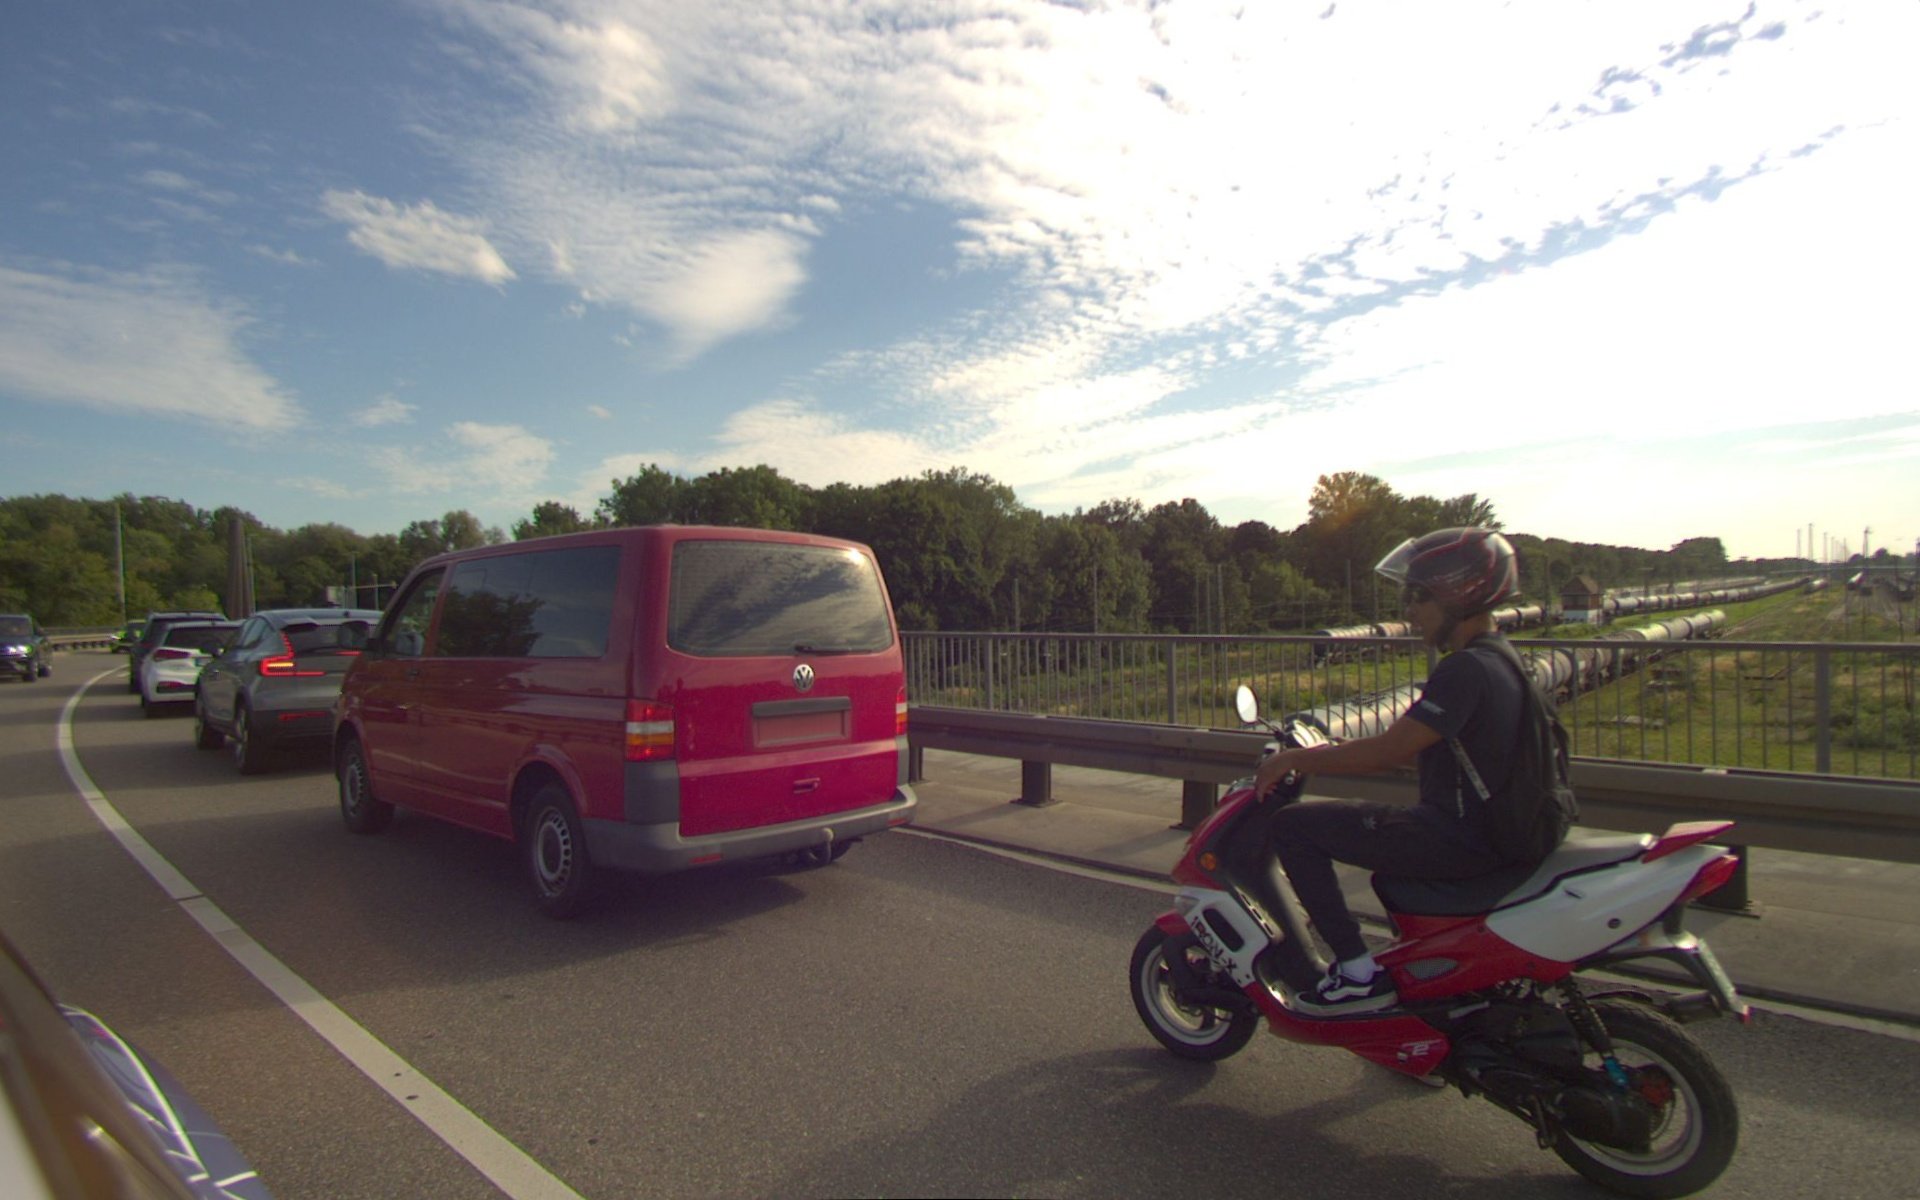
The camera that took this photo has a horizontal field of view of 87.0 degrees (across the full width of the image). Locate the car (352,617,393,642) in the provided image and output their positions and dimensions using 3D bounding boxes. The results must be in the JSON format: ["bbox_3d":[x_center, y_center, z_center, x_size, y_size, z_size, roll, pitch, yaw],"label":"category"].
[{"bbox_3d":[-41.061,2.040,70.800,1.843,1.679,4.645,1,-2,-23],"label":"car"}]

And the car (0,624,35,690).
[{"bbox_3d":[-23.913,1.346,24.782,1.792,1.519,4.395,1,-2,-43],"label":"car"}]

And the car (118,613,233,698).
[{"bbox_3d":[-17.359,1.153,22.483,1.805,1.685,4.877,1,-2,-37],"label":"car"}]

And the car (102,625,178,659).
[{"bbox_3d":[-35.941,1.802,44.483,1.789,1.415,4.405,1,-2,-28],"label":"car"}]

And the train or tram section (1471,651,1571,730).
[{"bbox_3d":[41.613,6.381,74.591,3.095,4.748,16.520,-1,-1,41],"label":"train or tram section"}]

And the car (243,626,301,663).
[{"bbox_3d":[-29.273,1.863,43.173,1.735,1.501,4.404,1,-2,-30],"label":"car"}]

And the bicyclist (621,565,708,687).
[{"bbox_3d":[-4.250,0.372,14.554,1.121,1.673,0.757,-1,-1,45],"label":"bicyclist"}]

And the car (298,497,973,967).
[{"bbox_3d":[-2.384,0.592,6.524,4.867,1.918,1.986,-1,-2,42],"label":"car"}]

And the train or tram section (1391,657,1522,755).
[{"bbox_3d":[30.829,6.142,62.123,3.095,4.748,16.520,-1,-1,41],"label":"train or tram section"}]

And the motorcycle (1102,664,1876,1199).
[{"bbox_3d":[1.327,0.843,2.832,1.791,1.262,0.614,-1,-2,40],"label":"motorcycle"}]

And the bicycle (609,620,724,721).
[{"bbox_3d":[-4.237,0.963,14.527,0.755,1.342,1.917,1,-1,-45],"label":"bicycle"}]

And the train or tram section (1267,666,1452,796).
[{"bbox_3d":[20.041,5.946,49.587,3.095,4.748,16.520,-1,-1,41],"label":"train or tram section"}]

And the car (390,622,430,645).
[{"bbox_3d":[-43.625,2.645,80.317,1.750,1.759,3.846,0,-1,-11],"label":"car"}]

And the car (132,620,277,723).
[{"bbox_3d":[-12.733,1.097,16.958,1.718,1.512,4.084,1,-2,-40],"label":"car"}]

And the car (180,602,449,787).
[{"bbox_3d":[-7.180,0.881,11.059,1.731,1.622,4.318,1,-2,-43],"label":"car"}]

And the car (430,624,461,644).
[{"bbox_3d":[-46.938,3.093,92.415,1.749,1.759,3.847,0,-1,-14],"label":"car"}]

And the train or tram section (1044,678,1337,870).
[{"bbox_3d":[9.199,5.692,37.082,3.095,4.748,16.520,-1,-1,41],"label":"train or tram section"}]

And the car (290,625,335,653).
[{"bbox_3d":[-37.010,2.201,57.934,1.735,1.501,4.405,1,-2,-27],"label":"car"}]

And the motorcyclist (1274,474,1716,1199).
[{"bbox_3d":[1.429,0.519,2.739,0.937,1.565,0.614,-1,-2,40],"label":"motorcyclist"}]
